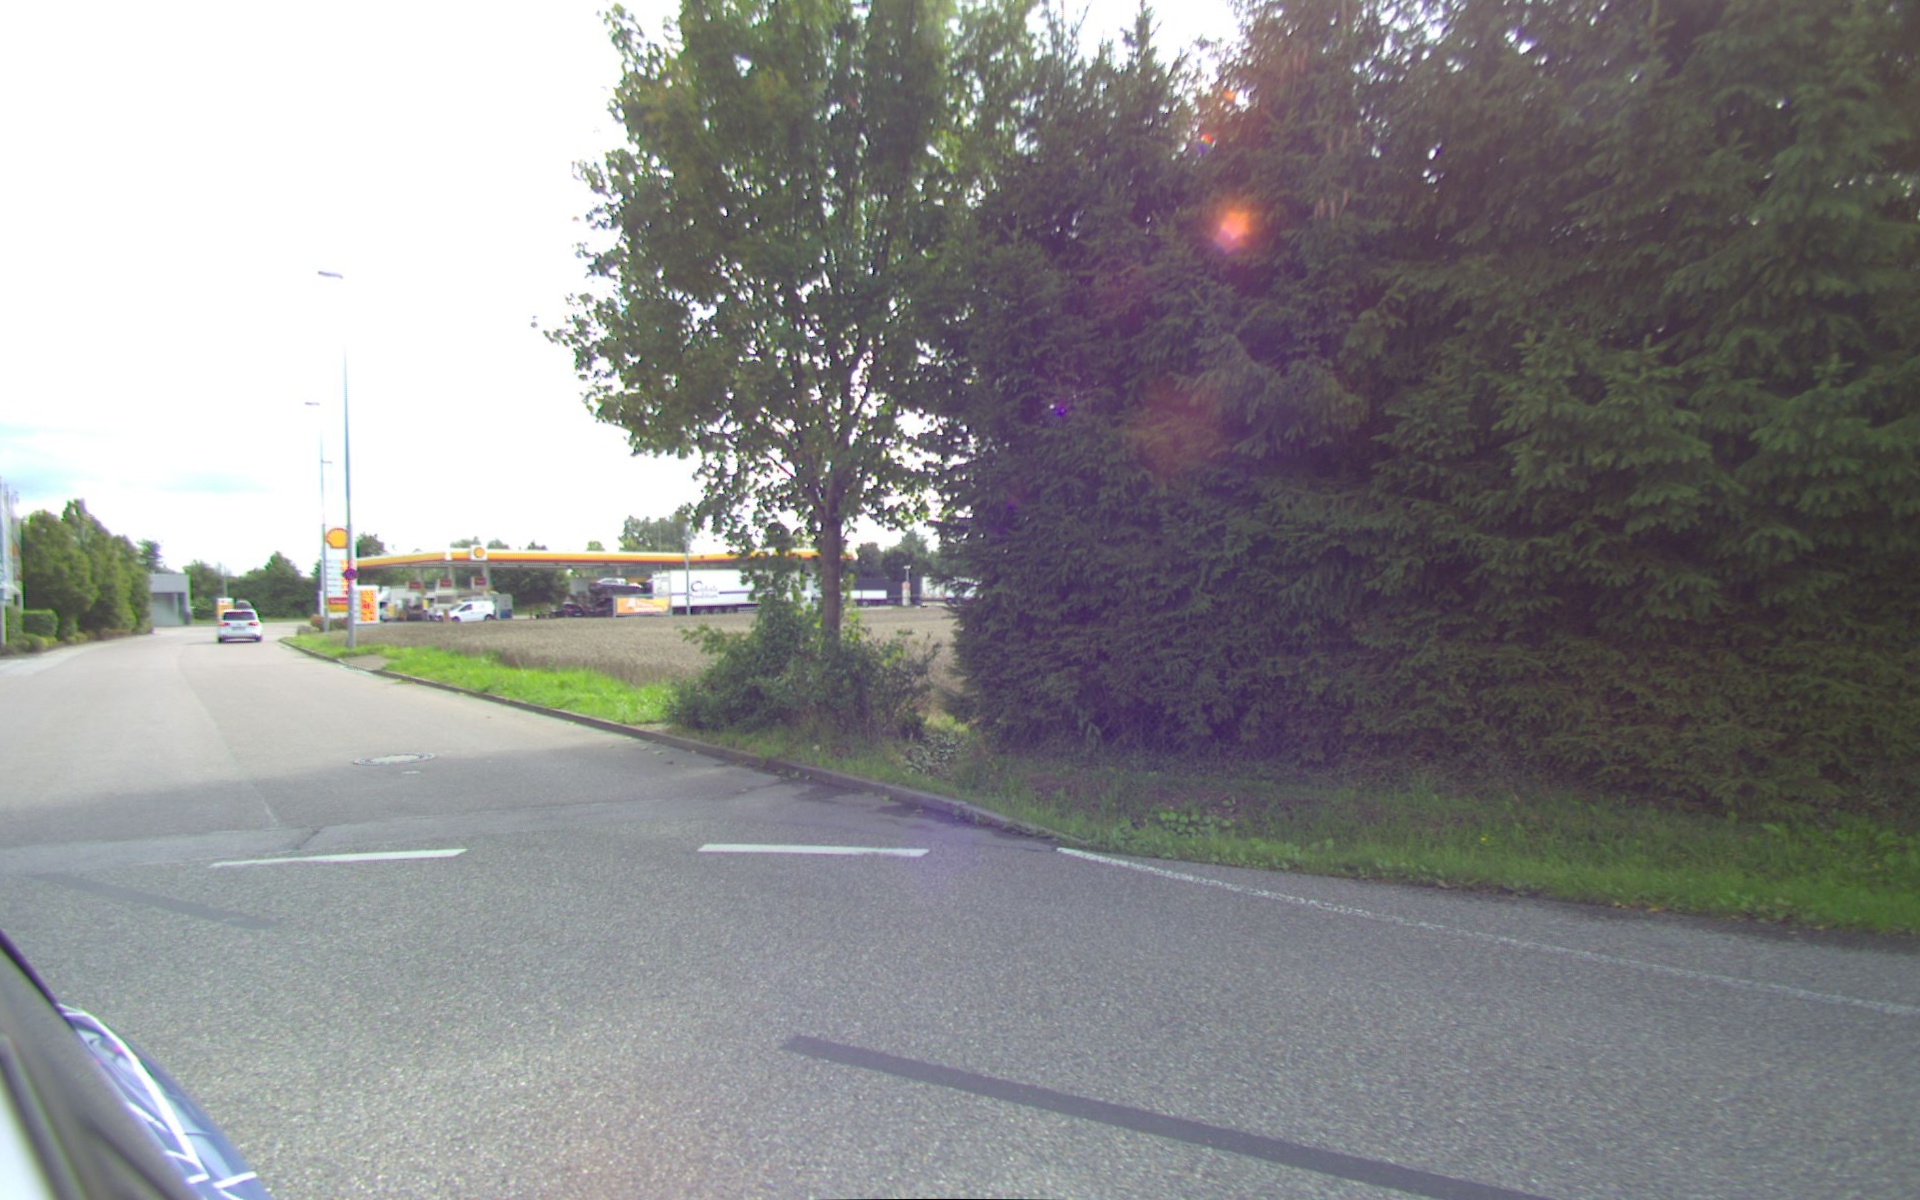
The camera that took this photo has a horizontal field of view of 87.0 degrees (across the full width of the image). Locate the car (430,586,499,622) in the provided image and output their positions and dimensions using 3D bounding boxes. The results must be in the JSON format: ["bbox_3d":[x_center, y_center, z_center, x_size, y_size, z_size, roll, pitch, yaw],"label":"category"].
[{"bbox_3d":[-41.712,0.321,85.420,2.200,2.808,5.790,-2,0,10],"label":"car"}]

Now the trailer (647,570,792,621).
[{"bbox_3d":[-20.217,-0.442,86.119,2.712,4.055,12.670,-2,0,42],"label":"trailer"}]

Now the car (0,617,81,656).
[{"bbox_3d":[-43.754,1.702,46.917,4.289,1.729,1.662,-1,0,-30],"label":"car"}]

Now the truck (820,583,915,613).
[{"bbox_3d":[-12.637,-0.316,139.395,12.824,3.922,2.826,-1,1,-2],"label":"truck"}]

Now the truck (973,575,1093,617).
[{"bbox_3d":[7.614,-0.521,101.821,2.825,3.922,15.238,0,1,44],"label":"truck"}]

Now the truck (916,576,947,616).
[{"bbox_3d":[-3.233,-0.500,111.382,2.919,4.143,14.761,-1,1,-3],"label":"truck"}]

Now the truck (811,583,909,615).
[{"bbox_3d":[-13.061,-0.174,132.459,12.618,3.922,2.827,-1,1,-3],"label":"truck"}]

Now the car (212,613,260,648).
[{"bbox_3d":[-36.200,1.509,50.551,1.677,1.678,4.039,0,-1,-39],"label":"car"}]

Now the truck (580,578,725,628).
[{"bbox_3d":[-26.083,0.157,86.961,2.745,3.953,13.106,0,1,34],"label":"truck"}]

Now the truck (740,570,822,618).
[{"bbox_3d":[-16.023,-0.553,90.894,2.712,4.055,7.070,-2,0,42],"label":"truck"}]
